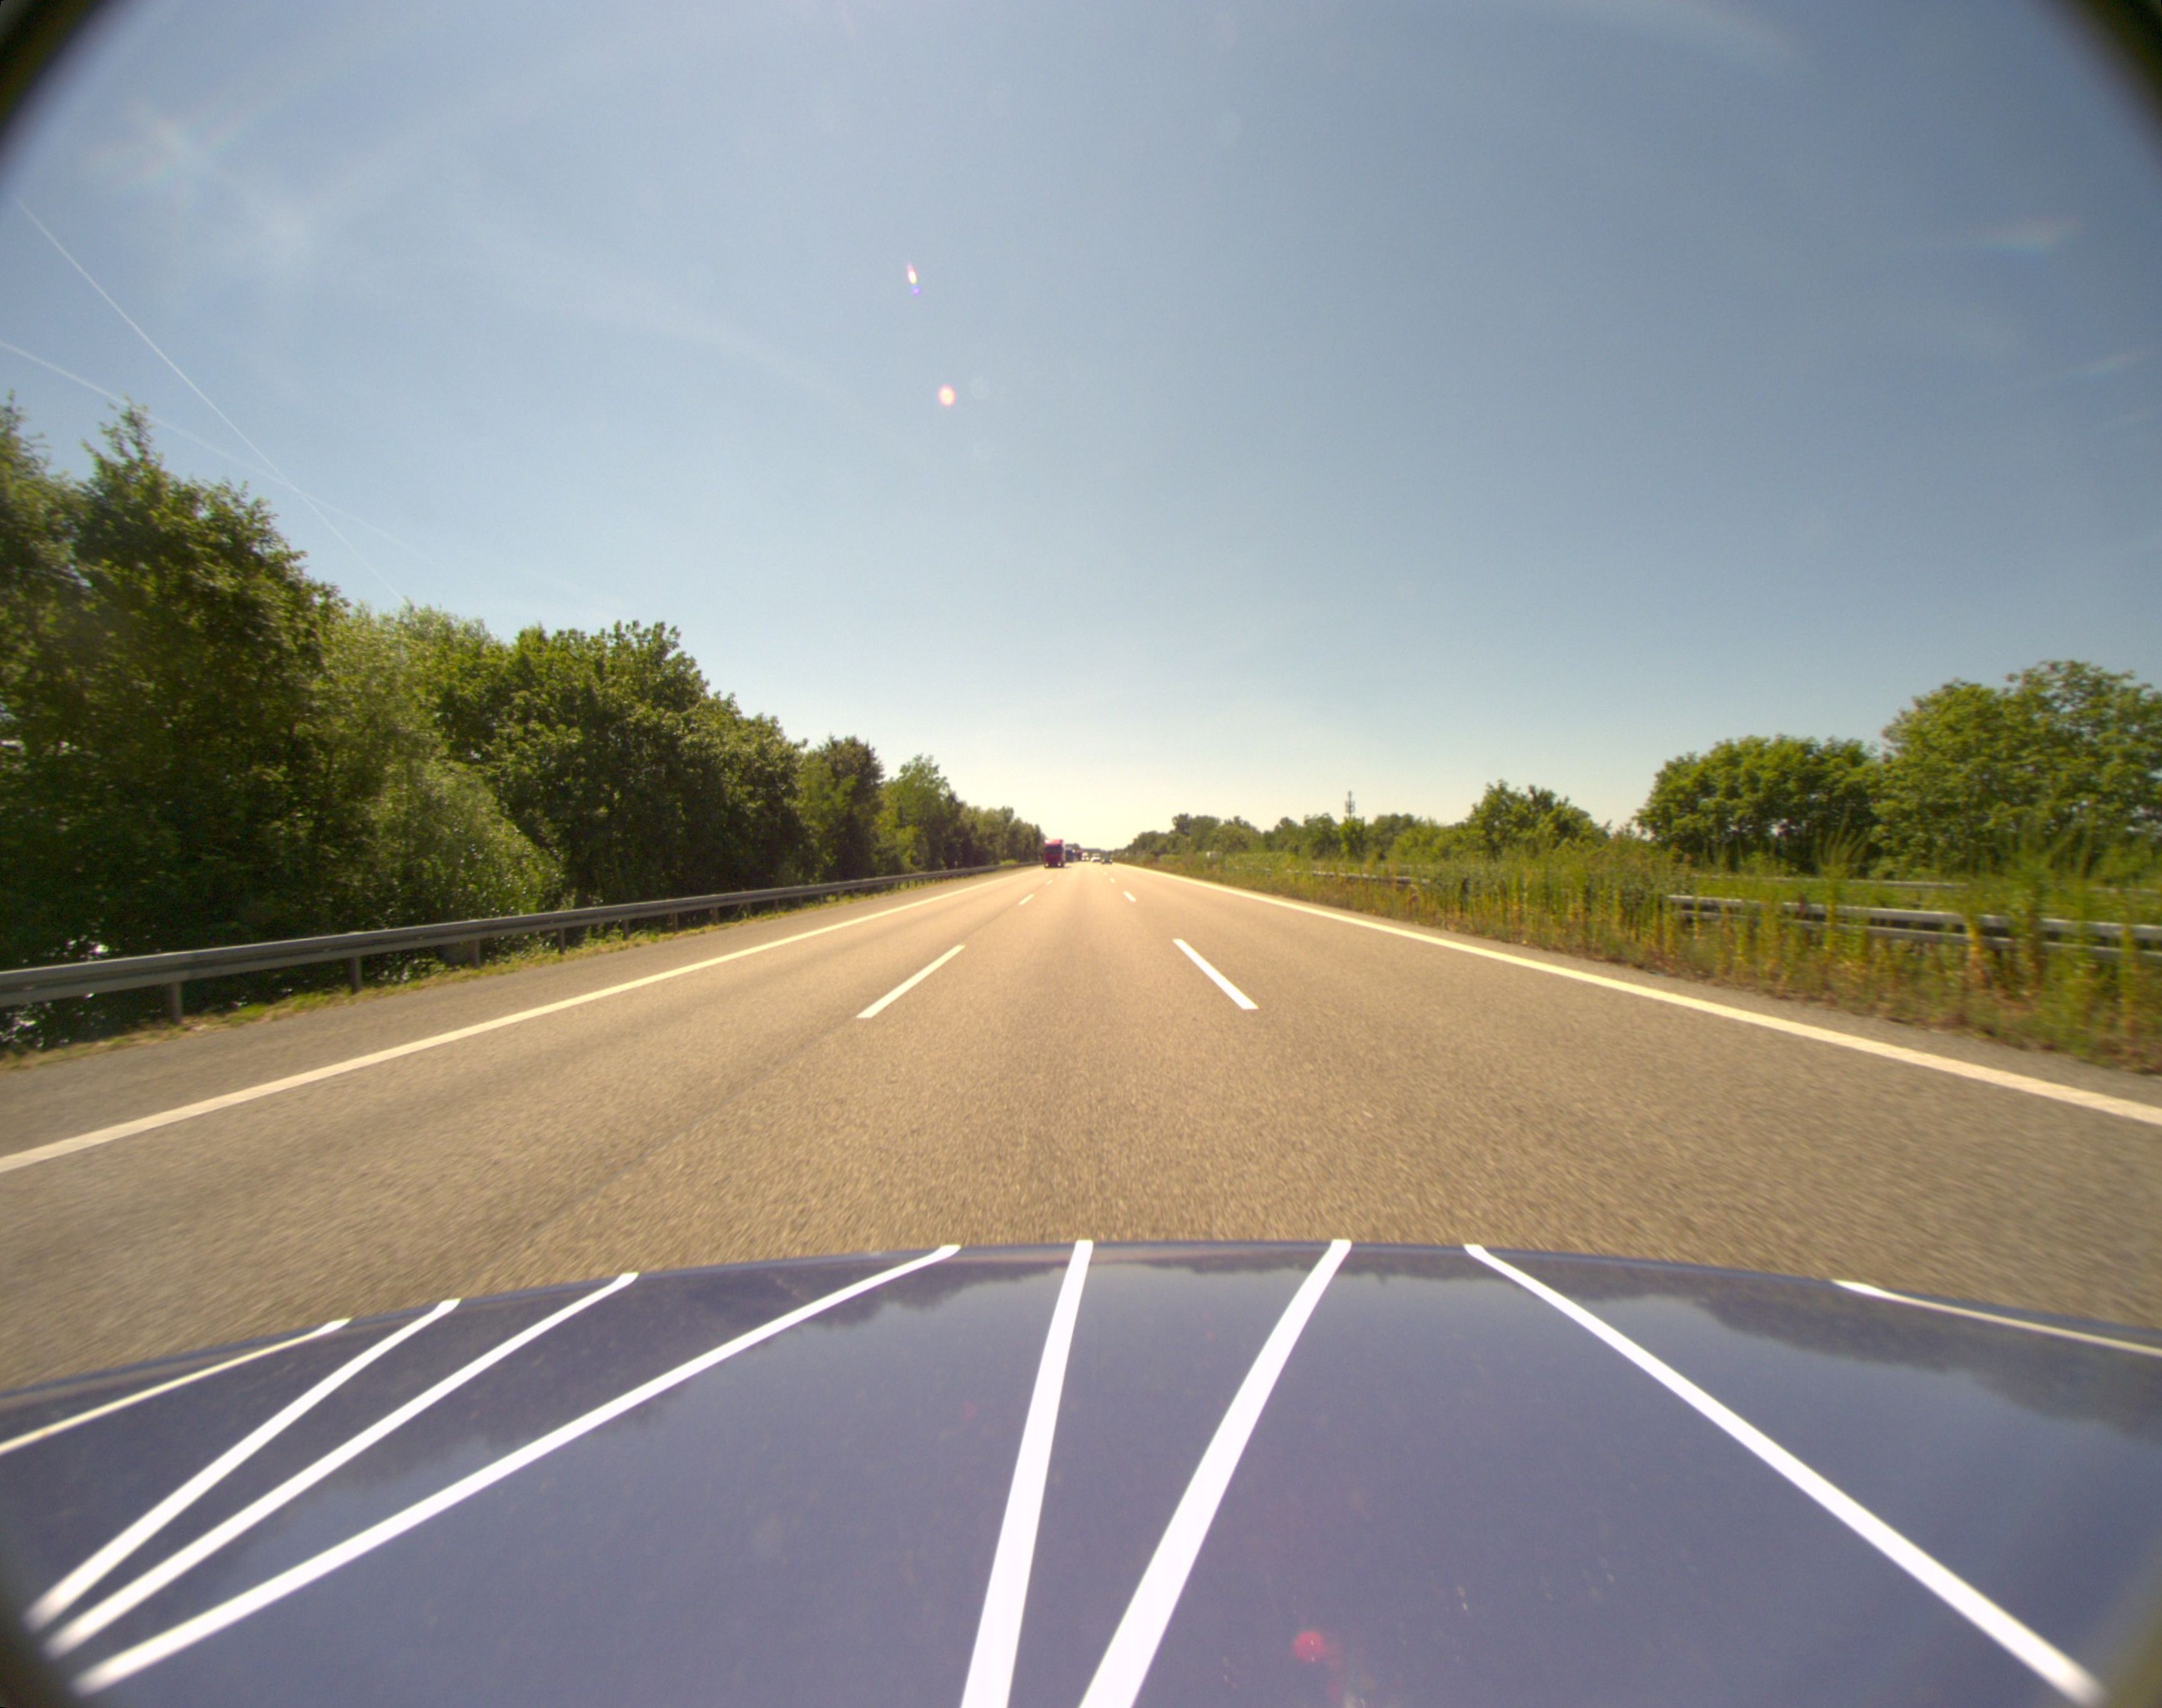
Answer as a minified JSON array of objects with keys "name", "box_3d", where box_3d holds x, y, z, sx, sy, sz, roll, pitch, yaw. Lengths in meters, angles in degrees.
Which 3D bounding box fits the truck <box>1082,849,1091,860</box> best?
[{"name":"truck","box_3d":[1.920,0.155,244.428,2.726,3.391,9.769,-2,0,1]}]

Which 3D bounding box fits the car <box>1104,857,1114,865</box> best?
[{"name":"car","box_3d":[4.852,1.202,131.723,1.737,1.433,4.000,-2,0,1]}]

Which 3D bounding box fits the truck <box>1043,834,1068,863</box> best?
[{"name":"truck","box_3d":[-3.525,-0.762,108.861,2.938,3.934,10.259,-2,0,1]}]

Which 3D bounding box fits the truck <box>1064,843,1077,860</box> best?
[{"name":"truck","box_3d":[-2.711,-0.607,201.814,2.938,4.429,10.259,-2,0,1]}]

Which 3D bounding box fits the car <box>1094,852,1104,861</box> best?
[{"name":"car","box_3d":[4.180,0.579,177.475,1.998,2.002,4.756,-2,0,0]}]

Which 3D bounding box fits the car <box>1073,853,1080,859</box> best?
[{"name":"car","box_3d":[-1.438,0.590,247.613,1.998,2.002,4.756,-2,0,0]}]

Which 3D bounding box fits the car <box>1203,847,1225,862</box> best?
[{"name":"car","box_3d":[18.367,0.095,105.142,1.998,1.978,5.272,-2,0,0]}]
